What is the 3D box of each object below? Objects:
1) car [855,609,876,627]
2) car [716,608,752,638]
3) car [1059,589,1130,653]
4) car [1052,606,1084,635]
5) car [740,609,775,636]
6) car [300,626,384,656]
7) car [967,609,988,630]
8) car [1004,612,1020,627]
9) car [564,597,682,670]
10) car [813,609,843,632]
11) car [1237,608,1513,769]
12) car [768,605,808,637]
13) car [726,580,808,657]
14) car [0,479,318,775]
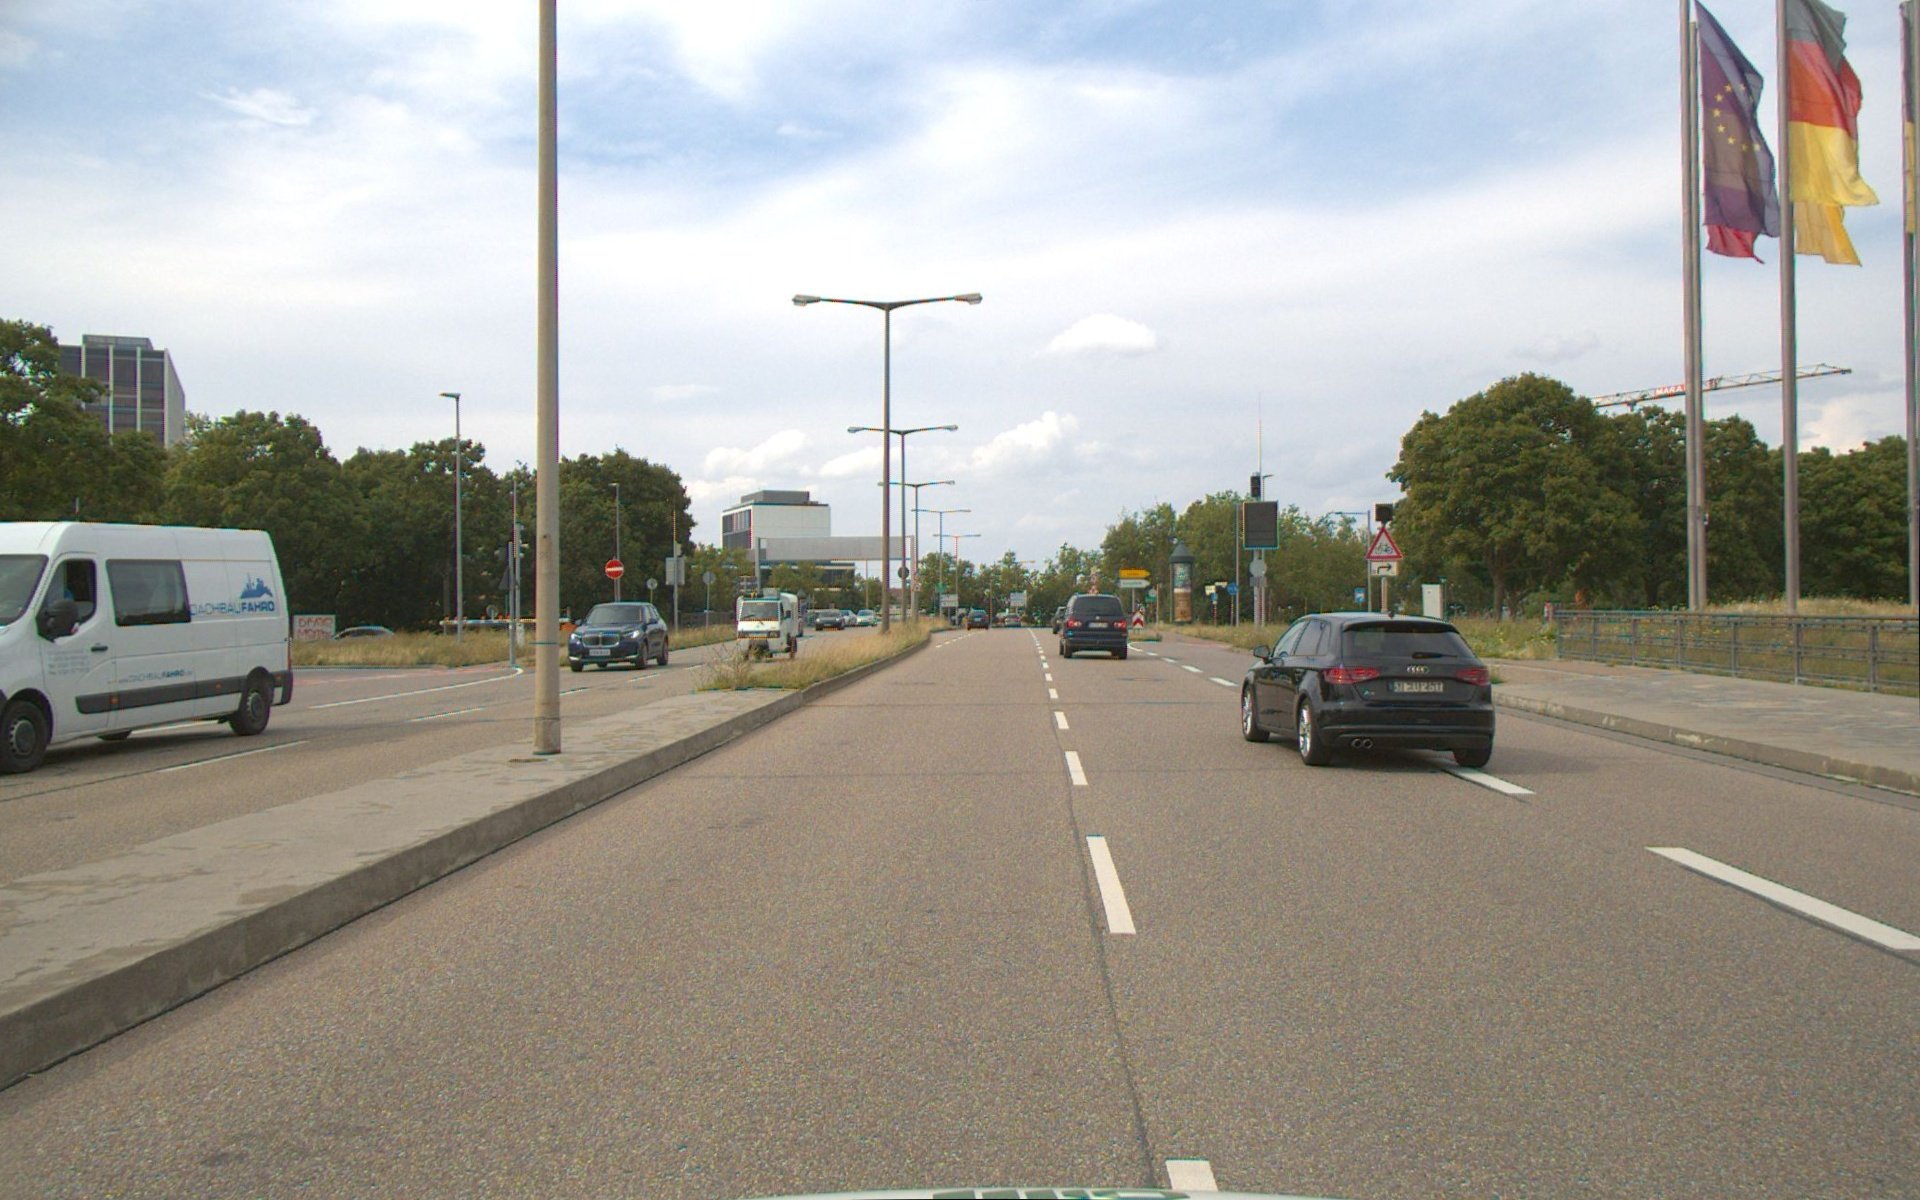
[{"bbox_3d":[-8.996,1.739,157.423,1.710,1.626,4.564,-1,0,-1],"label":"car"},{"bbox_3d":[-16.181,1.659,118.384,1.952,2.049,4.000,1,0,1],"label":"car"},{"bbox_3d":[3.695,0.576,45.974,1.695,1.682,4.115,1,0,1],"label":"car"},{"bbox_3d":[6.430,1.233,98.616,1.695,1.682,4.115,1,0,1],"label":"car"},{"bbox_3d":[-13.911,1.557,113.944,1.953,1.780,3.999,1,0,-1],"label":"car"},{"bbox_3d":[-32.003,2.099,85.639,3.834,1.420,1.555,-1,0,-35],"label":"car"},{"bbox_3d":[1.464,1.583,134.961,1.695,1.682,4.115,1,0,1],"label":"car"},{"bbox_3d":[5.480,2.070,174.423,1.695,1.553,4.115,1,0,1],"label":"car"},{"bbox_3d":[-8.322,0.784,41.233,1.710,1.613,4.588,-2,0,3],"label":"car"},{"bbox_3d":[-9.235,1.440,115.962,1.709,1.501,4.565,-1,0,0],"label":"car"},{"bbox_3d":[3.997,0.794,16.620,1.695,1.419,4.114,0,0,-1],"label":"car"},{"bbox_3d":[-9.072,1.080,87.434,1.617,1.602,4.338,-3,0,0],"label":"car"},{"bbox_3d":[-5.063,0.465,43.800,1.508,1.903,3.572,-2,0,3],"label":"car"},{"bbox_3d":[-9.501,0.249,17.993,2.010,2.689,6.404,-2,0,5],"label":"car"}]
